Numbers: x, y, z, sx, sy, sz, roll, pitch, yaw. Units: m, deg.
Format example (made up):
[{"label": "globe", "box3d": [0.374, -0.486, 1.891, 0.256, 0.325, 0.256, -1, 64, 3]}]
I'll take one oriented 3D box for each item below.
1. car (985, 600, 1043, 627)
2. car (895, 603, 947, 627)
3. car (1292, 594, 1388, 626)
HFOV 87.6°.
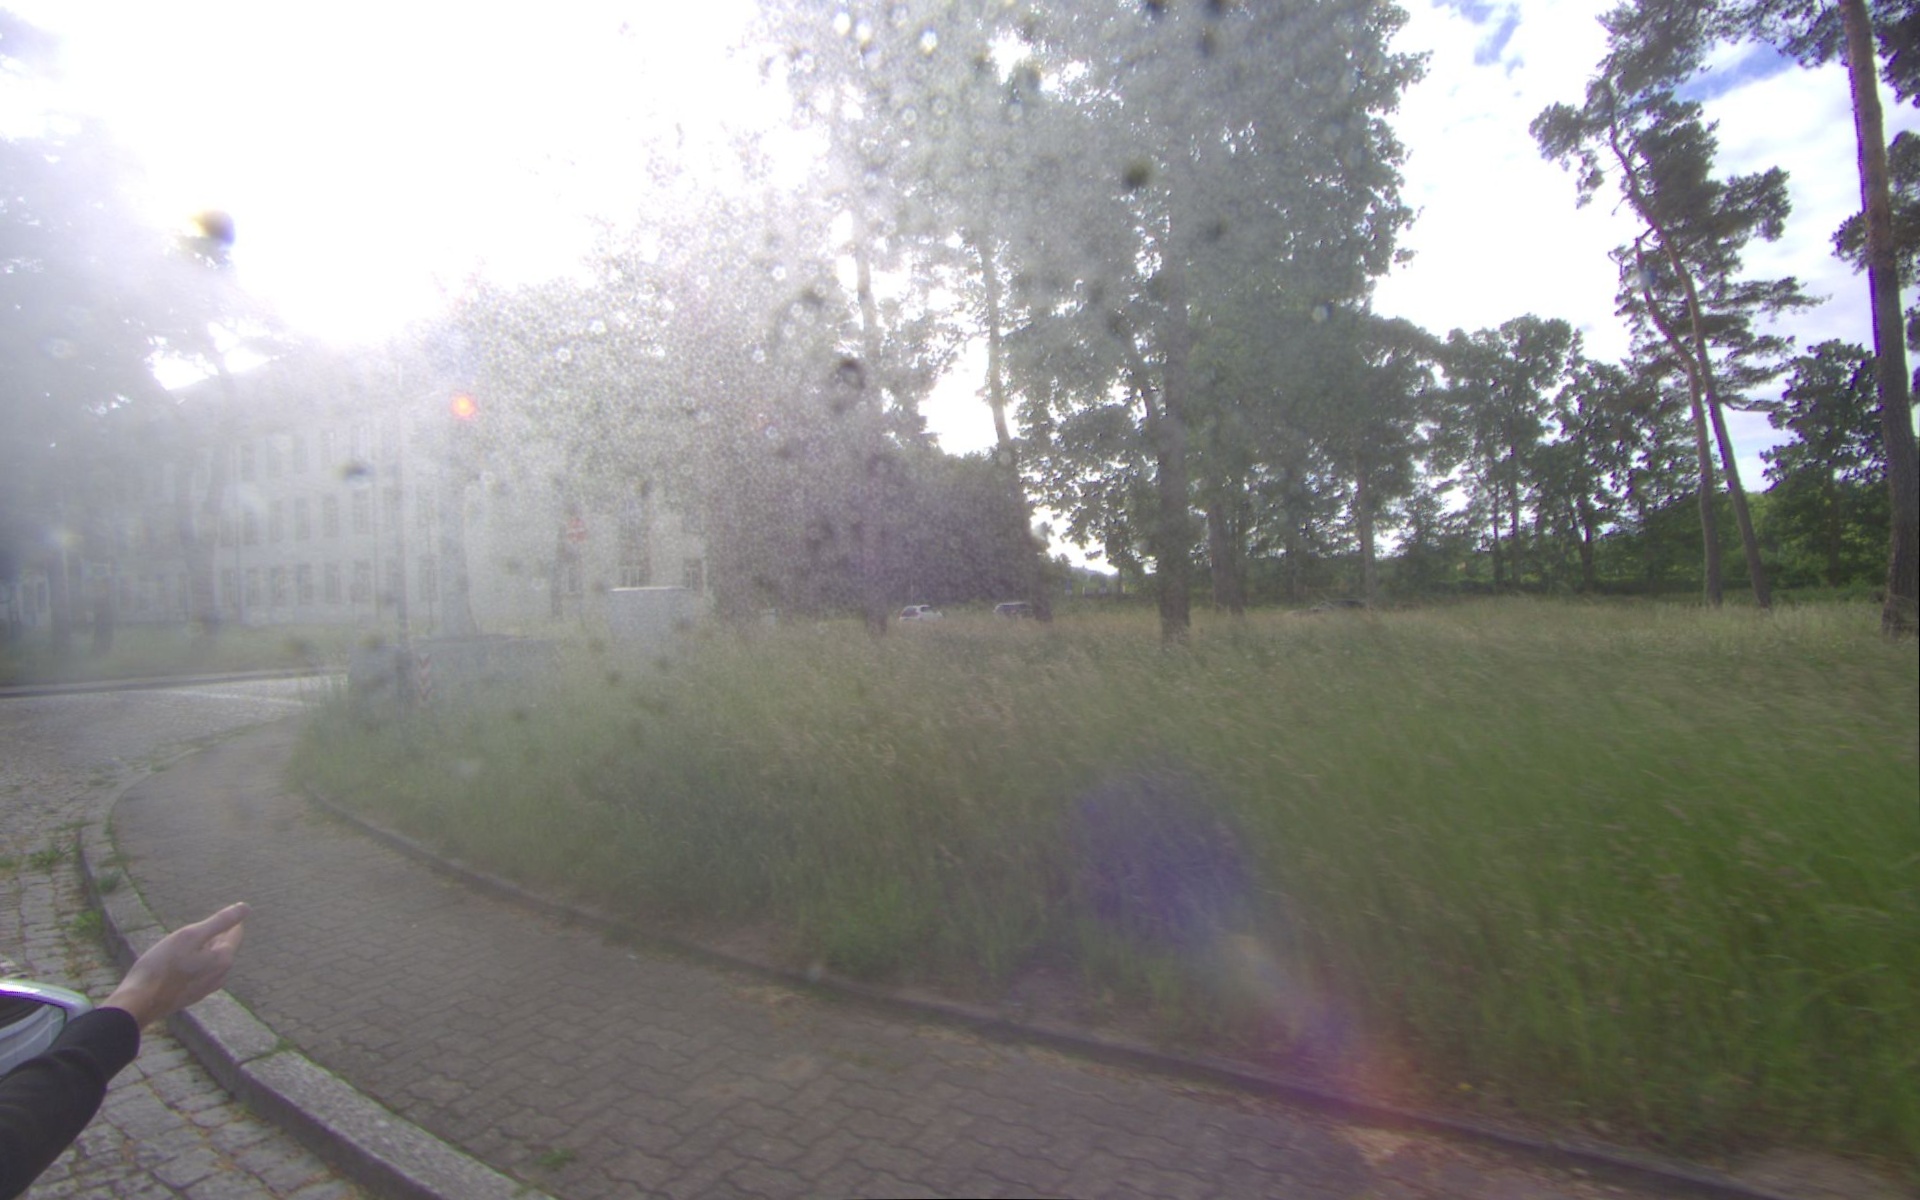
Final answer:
[{"label": "car", "box3d": [3.413, 0.836, 63.156, 1.972, 1.554, 3.978, -1, 0, 32]}, {"label": "car", "box3d": [-2.624, 0.989, 67.728, 1.748, 1.554, 3.674, -1, 0, 32]}, {"label": "car", "box3d": [19.602, 0.526, 51.640, 4.384, 1.607, 1.990, -1, 0, 30]}]
